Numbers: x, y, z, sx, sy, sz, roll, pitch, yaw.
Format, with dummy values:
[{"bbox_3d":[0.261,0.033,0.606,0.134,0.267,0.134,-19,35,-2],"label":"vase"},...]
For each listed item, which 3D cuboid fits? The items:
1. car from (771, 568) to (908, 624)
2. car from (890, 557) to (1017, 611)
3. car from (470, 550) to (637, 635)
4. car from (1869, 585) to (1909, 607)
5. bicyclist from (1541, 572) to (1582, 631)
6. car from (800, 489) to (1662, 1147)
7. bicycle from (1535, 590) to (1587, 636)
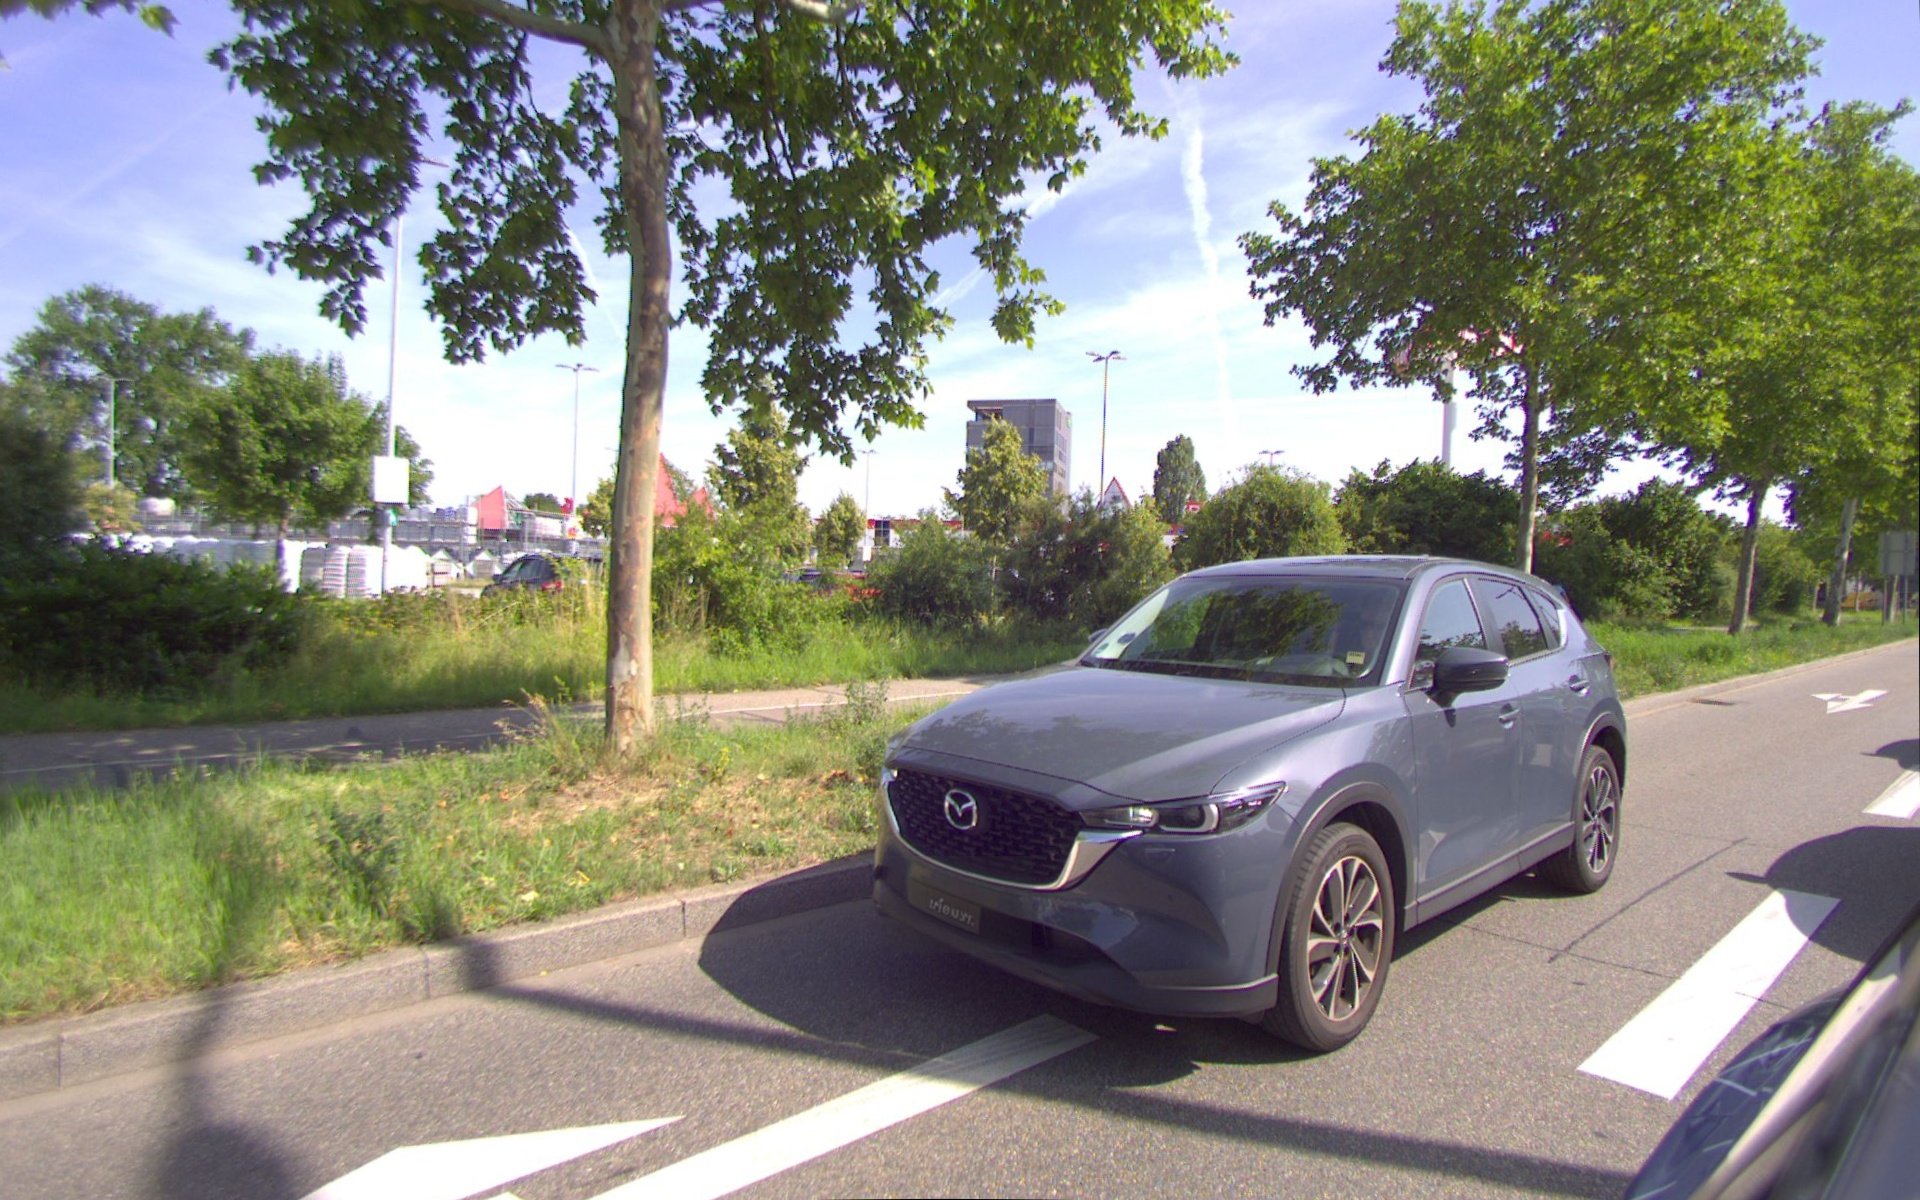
[{"bbox_3d":[-3.228,-0.154,26.823,3.553,1.316,1.740,3,2,43],"label":"car"},{"bbox_3d":[-0.187,-0.534,32.593,3.801,1.604,1.844,2,2,11],"label":"car"},{"bbox_3d":[-8.634,-0.221,21.360,3.850,1.604,1.821,3,2,43],"label":"car"},{"bbox_3d":[112.567,-0.522,122.715,2.047,2.439,5.947,2,2,28],"label":"car"},{"bbox_3d":[17.381,0.028,29.233,0.984,1.651,0.686,0,2,-41],"label":"bicyclist"},{"bbox_3d":[1.606,0.540,4.726,4.418,1.680,1.768,0,0,-42],"label":"car"},{"bbox_3d":[17.374,0.354,29.236,1.900,1.252,0.686,0,2,-41],"label":"bicycle"}]
